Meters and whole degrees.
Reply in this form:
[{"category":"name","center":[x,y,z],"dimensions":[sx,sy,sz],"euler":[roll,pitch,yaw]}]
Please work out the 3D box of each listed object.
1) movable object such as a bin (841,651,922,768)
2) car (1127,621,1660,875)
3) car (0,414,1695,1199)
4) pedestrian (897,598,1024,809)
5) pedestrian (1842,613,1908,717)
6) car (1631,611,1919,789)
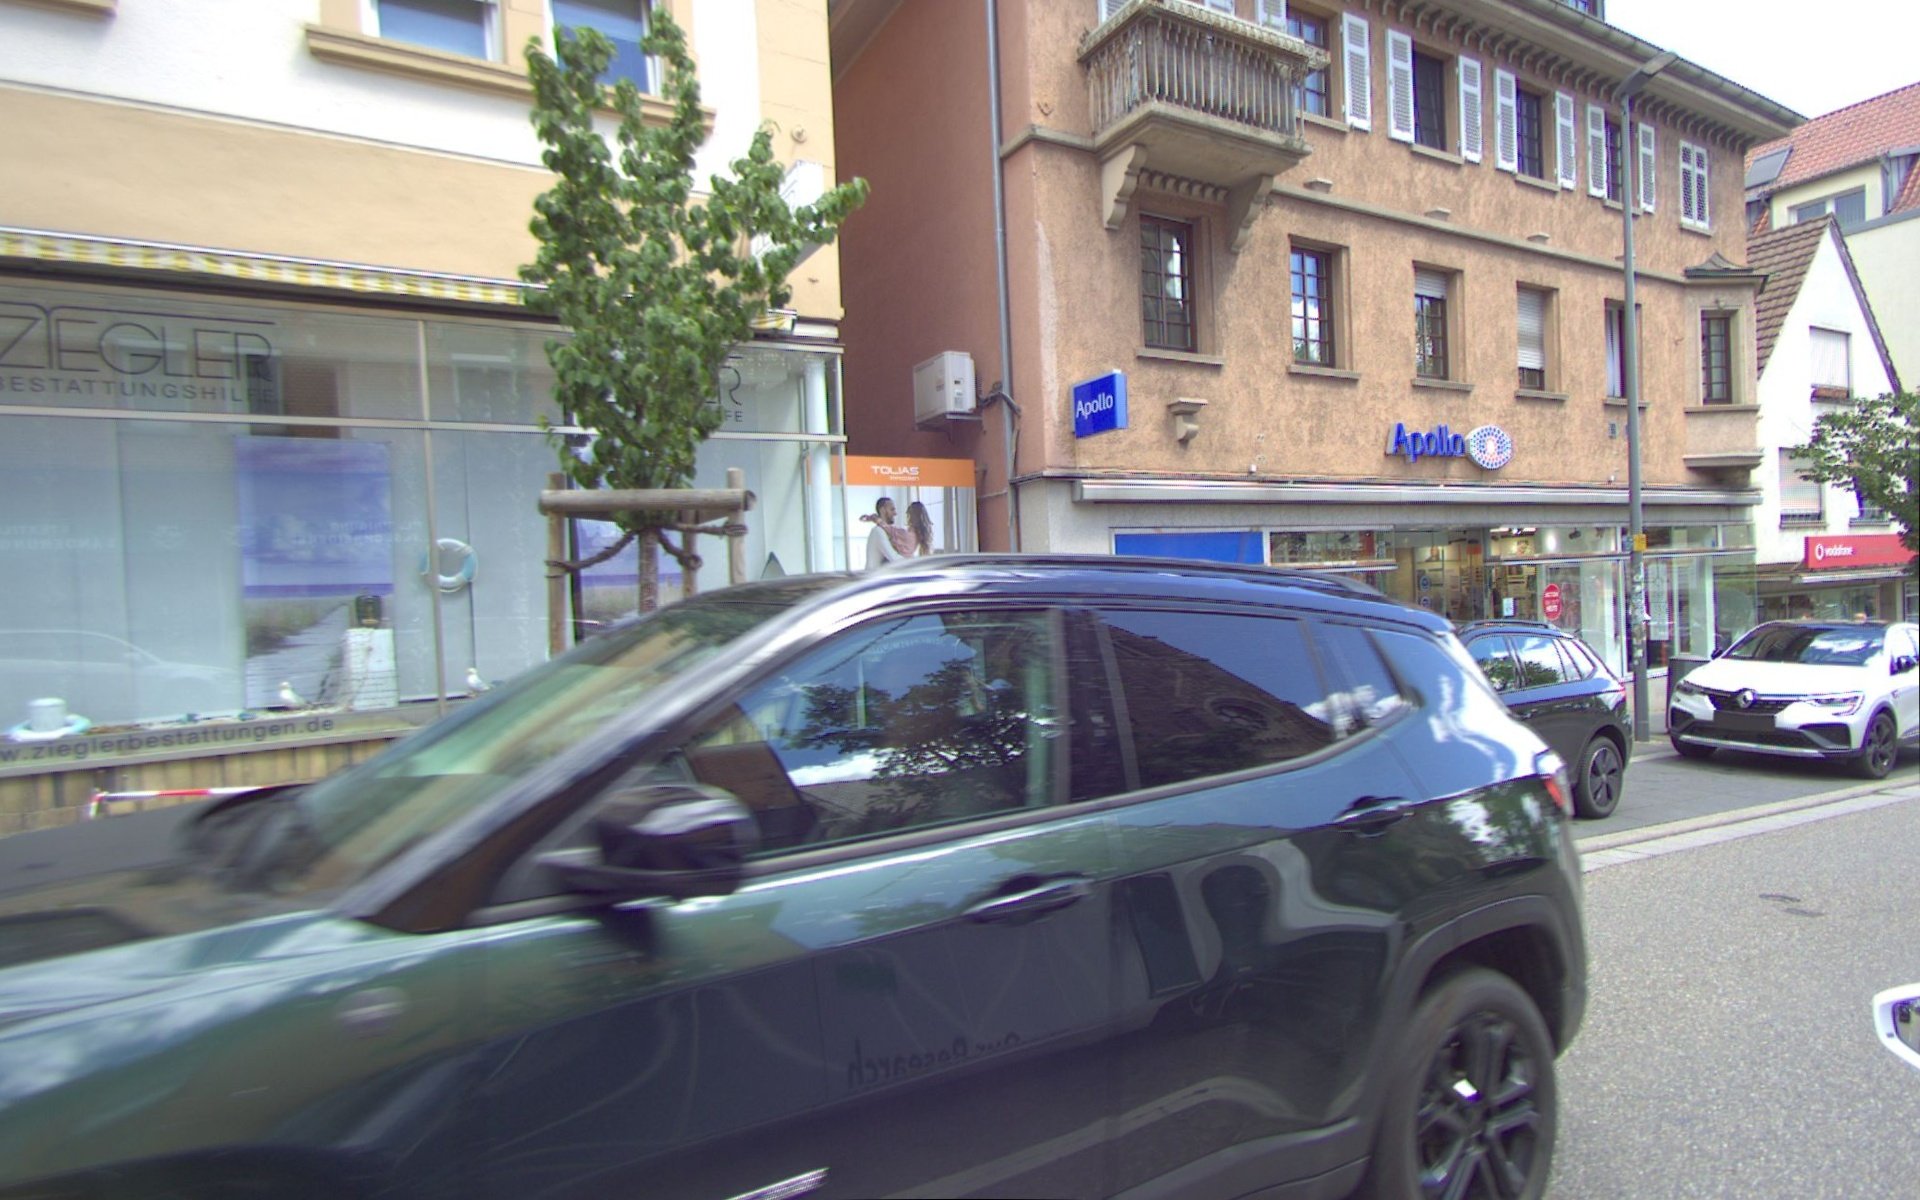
[{"category":"movable object such as a bin","center":[-0.791,1.068,10.012],"dimensions":[0.541,1.098,0.737],"euler":[1,-3,-30]},{"category":"car","center":[3.561,0.939,8.043],"dimensions":[4.216,1.516,1.916],"euler":[0,-1,-33]},{"category":"car","center":[-0.136,0.684,2.495],"dimensions":[3.986,1.638,1.756],"euler":[1,-2,-31]},{"category":"pedestrian","center":[0.003,0.794,8.054],"dimensions":[0.853,1.596,0.545],"euler":[0,-2,-31]},{"category":"pedestrian","center":[15.311,1.066,16.808],"dimensions":[0.712,1.690,0.638],"euler":[1,0,-31]},{"category":"car","center":[9.862,0.972,11.555],"dimensions":[4.408,1.617,1.916],"euler":[0,1,-32]}]
